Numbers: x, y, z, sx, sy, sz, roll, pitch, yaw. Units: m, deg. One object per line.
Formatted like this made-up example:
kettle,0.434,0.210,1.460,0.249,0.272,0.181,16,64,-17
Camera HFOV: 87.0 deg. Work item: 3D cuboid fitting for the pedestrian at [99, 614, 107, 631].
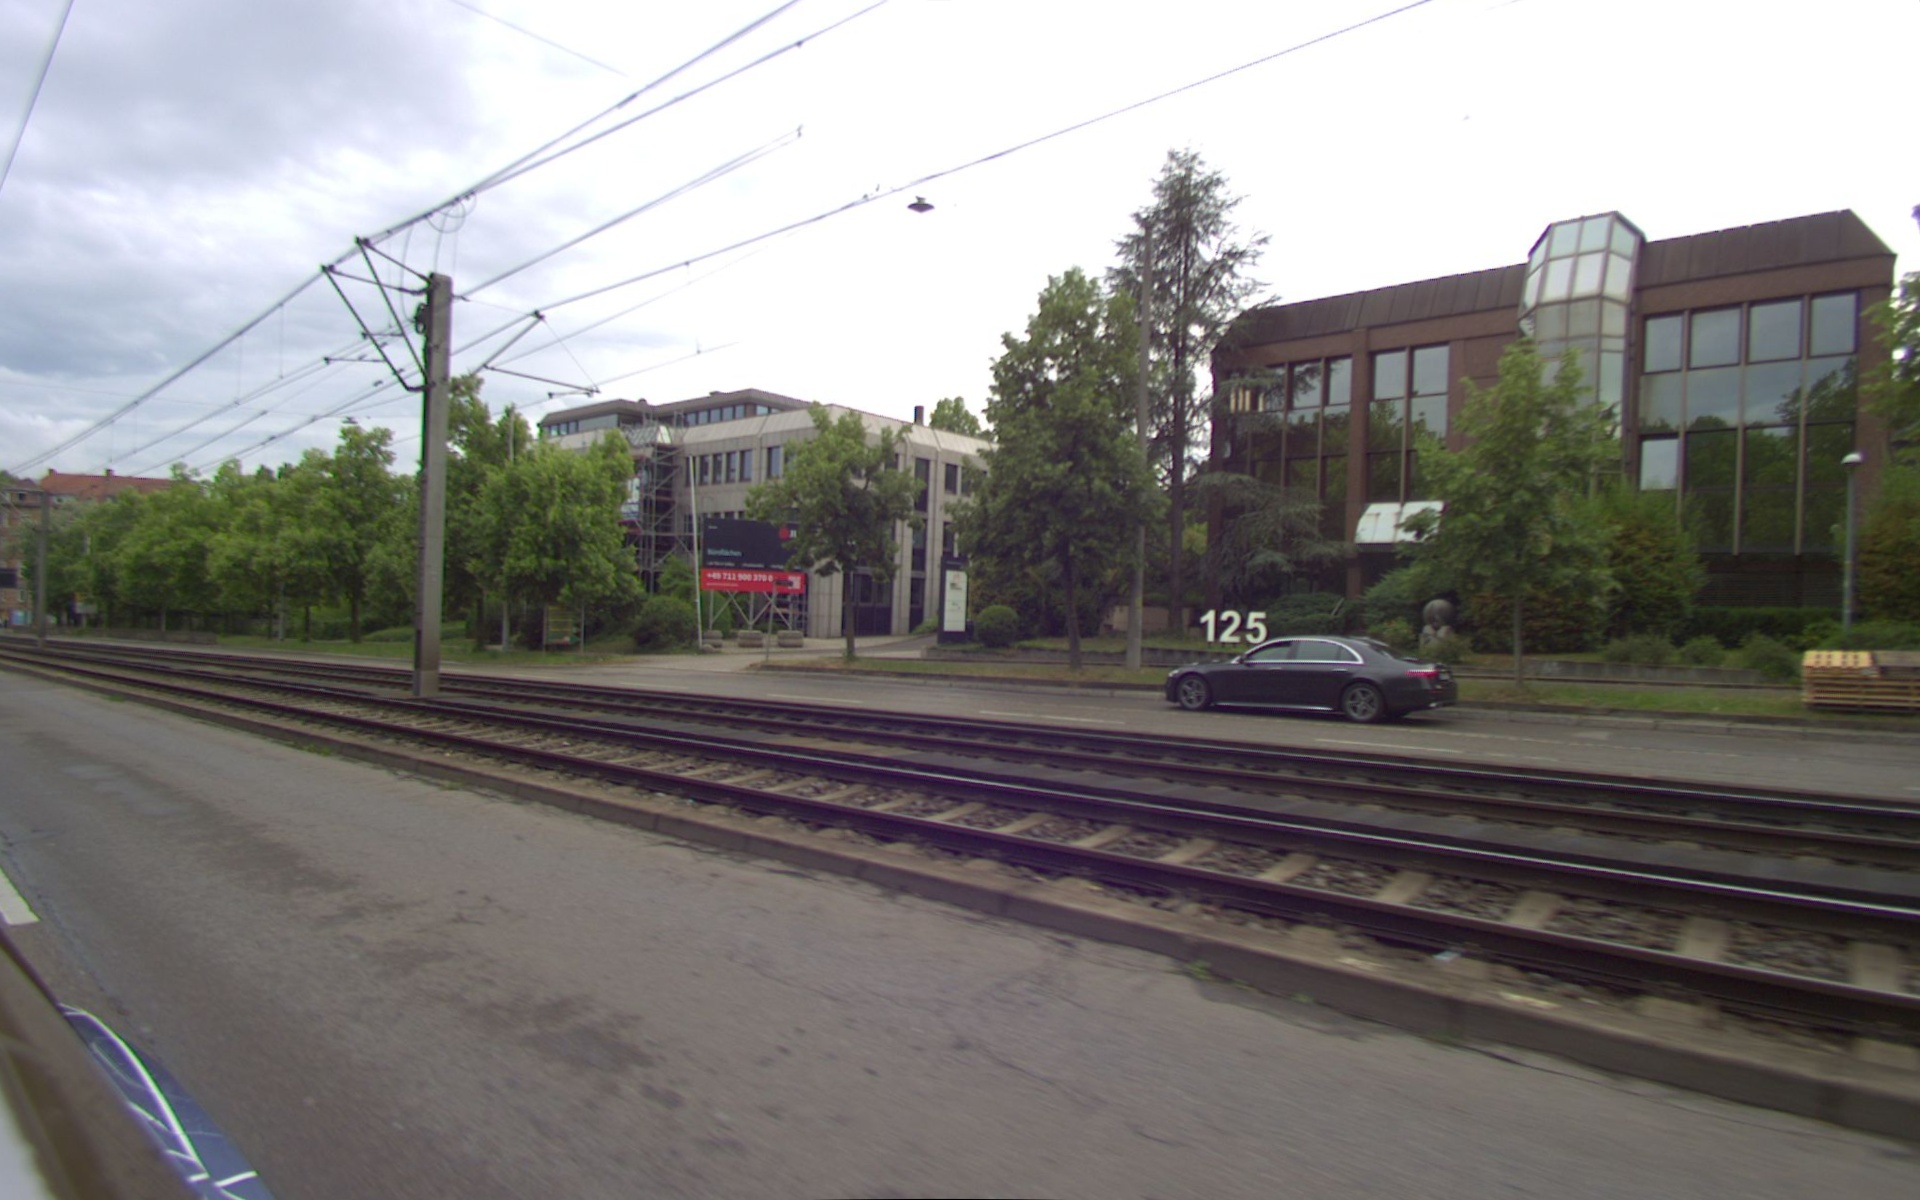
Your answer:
pedestrian,-95.538,2.477,112.782,0.653,1.917,0.590,-1,-1,37

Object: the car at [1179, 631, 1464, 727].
car,6.525,1.353,18.604,4.618,1.542,1.776,-1,-2,40
